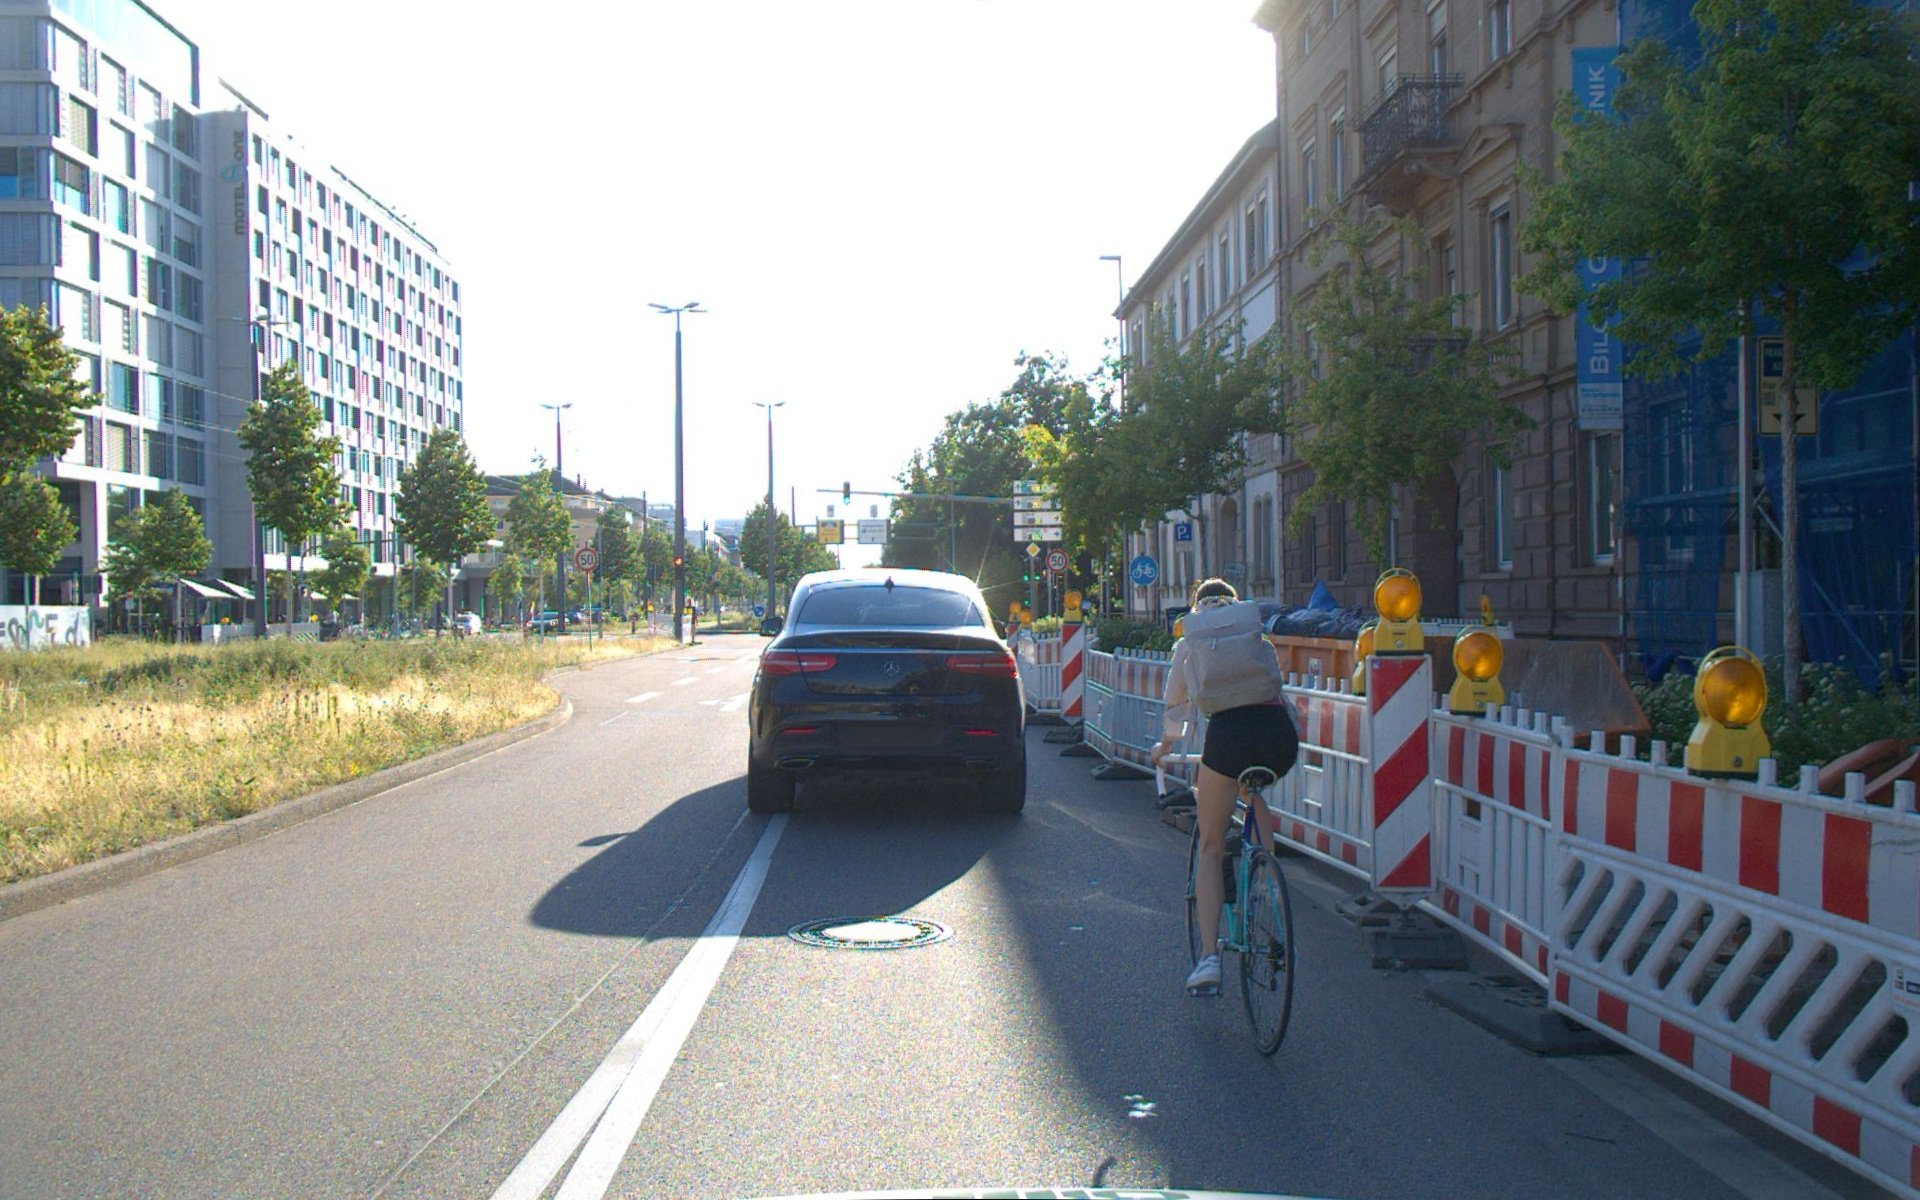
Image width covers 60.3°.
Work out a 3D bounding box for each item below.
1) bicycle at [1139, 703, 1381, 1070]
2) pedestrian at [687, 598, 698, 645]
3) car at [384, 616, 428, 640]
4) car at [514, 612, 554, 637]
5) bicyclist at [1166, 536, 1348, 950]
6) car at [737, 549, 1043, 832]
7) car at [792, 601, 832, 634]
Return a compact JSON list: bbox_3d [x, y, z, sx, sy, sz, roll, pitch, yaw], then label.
[{"bbox_3d":[1.055,0.970,6.149,0.502,1.070,1.724,1,0,-3],"label":"bicycle"},{"bbox_3d":[-10.141,0.813,62.722,0.327,1.794,0.418,1,-1,-2],"label":"pedestrian"},{"bbox_3d":[-35.248,1.768,105.371,1.674,1.467,3.581,1,0,-2],"label":"car"},{"bbox_3d":[-26.326,1.504,102.266,1.674,1.467,3.581,1,0,-2],"label":"car"},{"bbox_3d":[1.066,0.496,6.018,0.512,1.420,0.614,1,-1,-3],"label":"bicyclist"},{"bbox_3d":[-0.454,0.599,12.733,1.953,1.803,4.000,1,0,0],"label":"car"},{"bbox_3d":[-6.960,0.807,77.953,1.674,1.467,3.581,0,0,-2],"label":"car"}]
